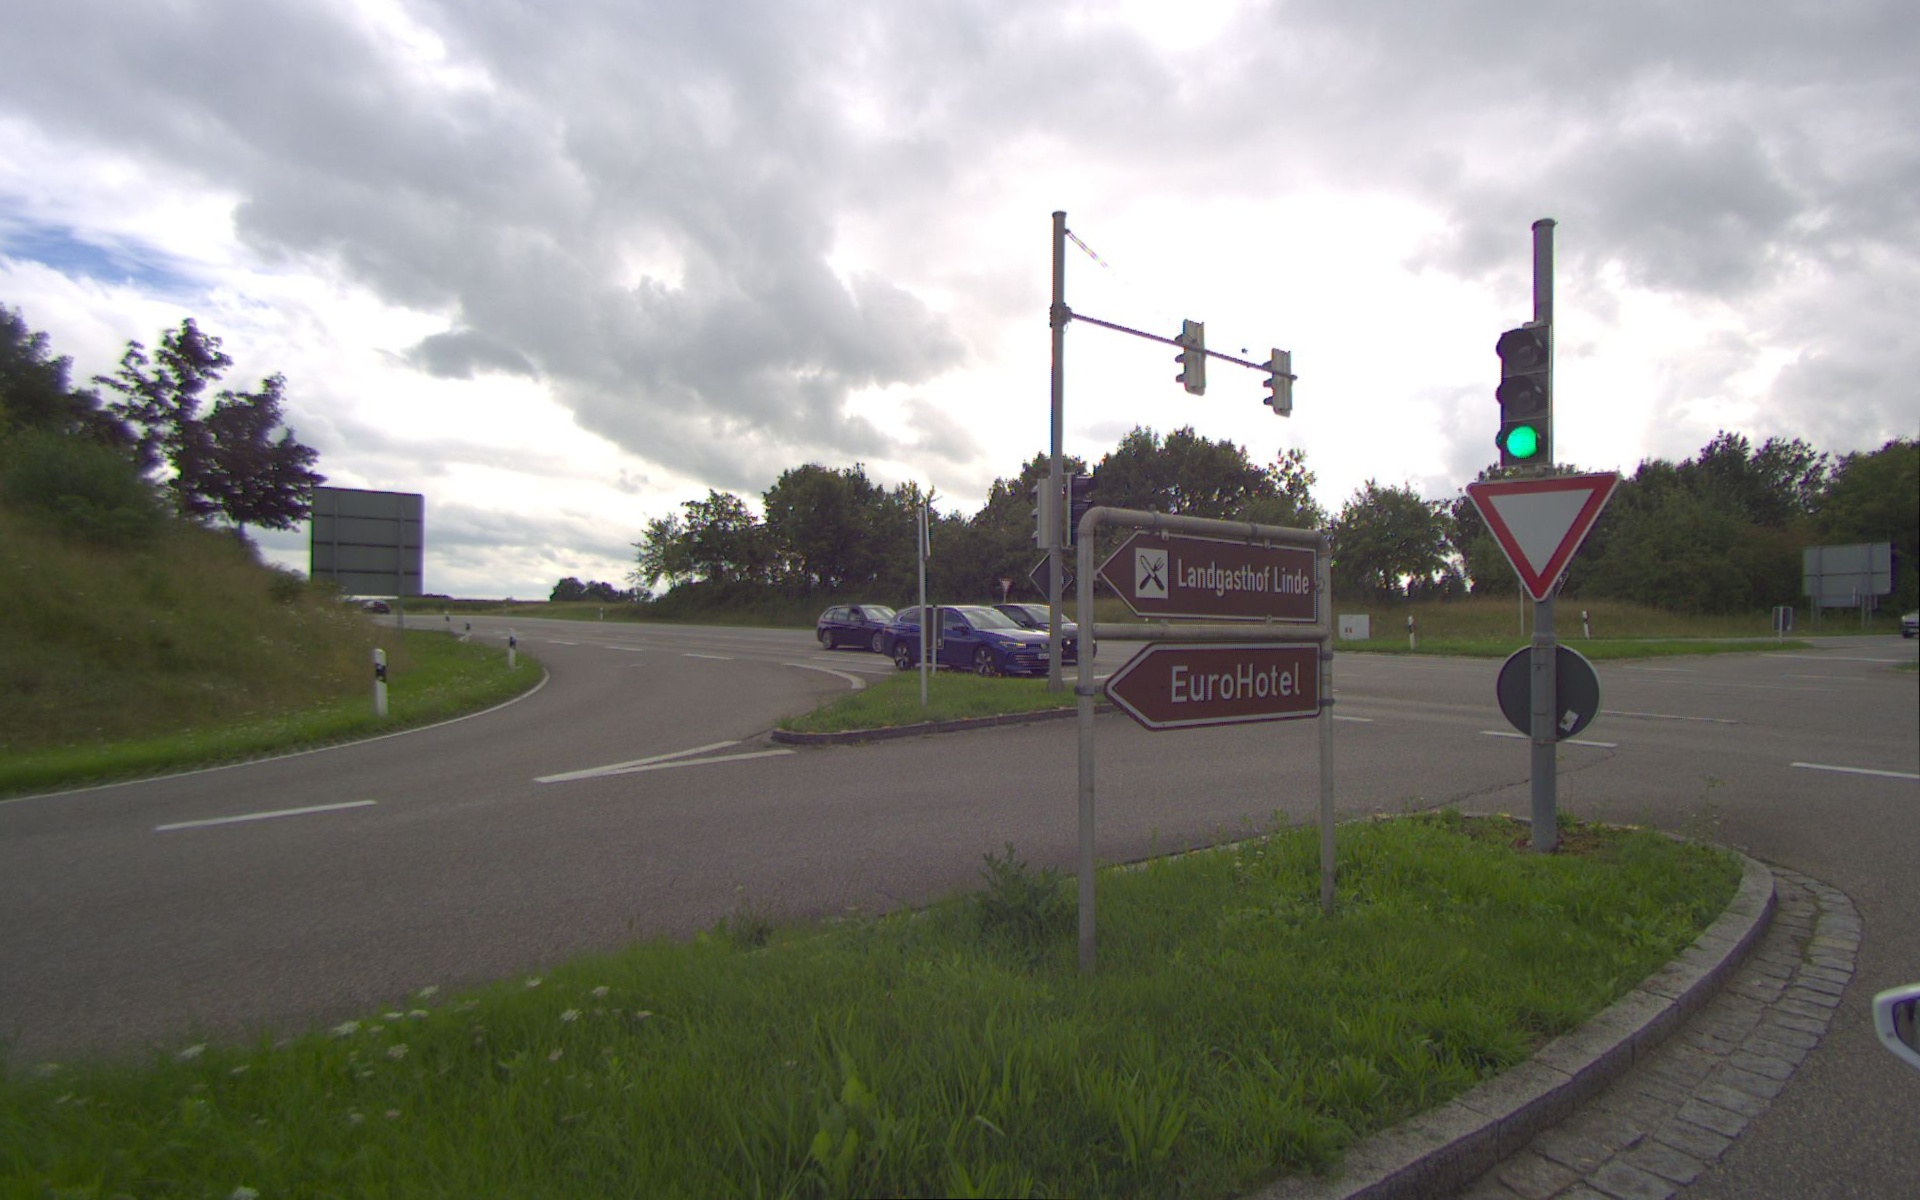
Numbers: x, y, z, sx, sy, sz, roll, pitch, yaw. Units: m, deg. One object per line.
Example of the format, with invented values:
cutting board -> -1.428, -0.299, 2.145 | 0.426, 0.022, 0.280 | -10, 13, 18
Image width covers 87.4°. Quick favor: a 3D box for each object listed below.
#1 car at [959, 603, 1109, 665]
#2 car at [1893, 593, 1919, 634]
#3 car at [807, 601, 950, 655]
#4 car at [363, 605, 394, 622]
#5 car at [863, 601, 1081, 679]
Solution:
car -> 1.847, 0.819, 26.119 | 1.717, 1.463, 3.899 | 0, 0, -39
car -> 38.609, 0.567, 39.039 | 3.942, 1.556, 1.990 | 1, -1, -22
car -> -2.644, 0.816, 31.606 | 2.039, 1.504, 4.823 | -1, 1, -41
car -> -61.671, 1.440, 106.543 | 3.945, 1.712, 1.838 | 0, -2, 44
car -> 0.136, 0.806, 22.584 | 2.037, 1.555, 5.063 | 0, 0, -42
